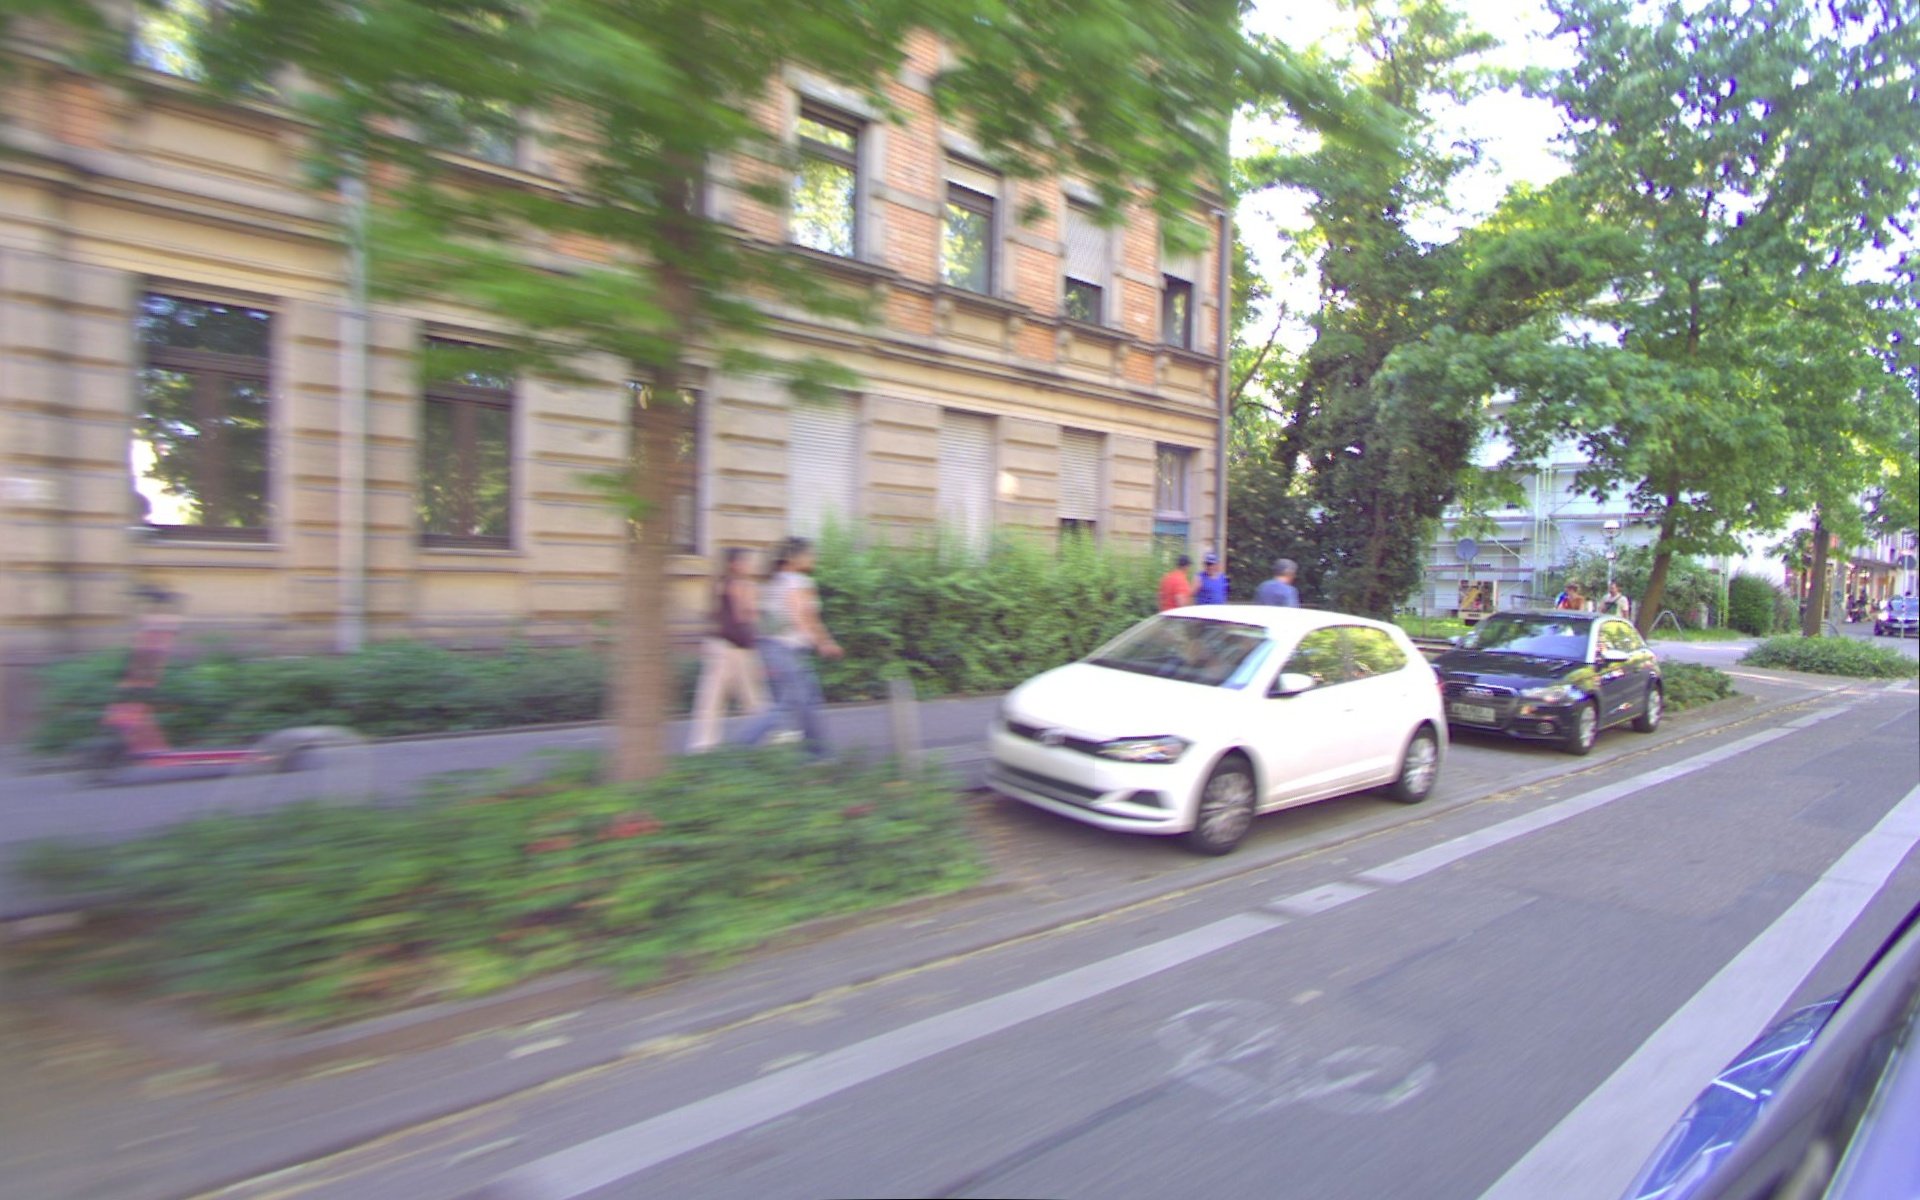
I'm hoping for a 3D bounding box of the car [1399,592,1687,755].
[{"bbox_3d":[6.711,0.689,11.499,3.777,1.429,1.676,-1,4,-42],"label":"car"}]

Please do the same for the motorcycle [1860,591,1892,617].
[{"bbox_3d":[50.923,0.230,56.271,2.605,1.332,0.954,2,5,-43],"label":"motorcycle"}]

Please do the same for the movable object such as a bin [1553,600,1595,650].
[{"bbox_3d":[14.319,0.569,23.594,0.665,1.140,0.942,1,1,42],"label":"movable object such as a bin"}]

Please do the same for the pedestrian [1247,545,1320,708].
[{"bbox_3d":[3.762,0.285,11.743,0.597,1.815,0.718,1,0,37],"label":"pedestrian"}]

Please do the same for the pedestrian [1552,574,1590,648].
[{"bbox_3d":[14.617,0.245,24.209,0.544,1.747,0.619,0,0,-37],"label":"pedestrian"}]

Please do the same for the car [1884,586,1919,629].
[{"bbox_3d":[39.445,0.330,41.371,4.361,1.641,1.767,1,3,-39],"label":"car"}]

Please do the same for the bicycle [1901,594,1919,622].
[{"bbox_3d":[45.023,0.419,46.681,1.011,1.224,2.210,0,3,-40],"label":"bicycle"}]

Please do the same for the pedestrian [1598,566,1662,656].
[{"bbox_3d":[14.040,0.221,21.219,0.836,1.815,0.729,1,2,-29],"label":"pedestrian"}]

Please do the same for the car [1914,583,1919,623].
[{"bbox_3d":[48.725,0.223,49.741,4.118,1.918,2.000,0,5,-39],"label":"car"}]

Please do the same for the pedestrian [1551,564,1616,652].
[{"bbox_3d":[13.348,0.165,21.680,0.948,1.815,0.729,1,2,-29],"label":"pedestrian"}]

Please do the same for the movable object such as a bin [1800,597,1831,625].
[{"bbox_3d":[36.644,0.466,43.337,0.685,1.124,0.882,0,3,-42],"label":"movable object such as a bin"}]

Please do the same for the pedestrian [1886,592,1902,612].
[{"bbox_3d":[57.463,0.099,62.262,0.677,1.220,0.640,1,0,39],"label":"pedestrian"}]

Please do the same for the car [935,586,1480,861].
[{"bbox_3d":[1.990,0.650,7.520,4.035,1.384,1.889,0,4,-41],"label":"car"}]

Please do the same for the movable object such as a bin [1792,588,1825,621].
[{"bbox_3d":[37.885,0.192,45.186,0.811,1.414,1.001,0,3,-42],"label":"movable object such as a bin"}]

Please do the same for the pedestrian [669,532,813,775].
[{"bbox_3d":[-1.681,0.374,7.761,0.841,1.731,0.728,0,0,-39],"label":"pedestrian"}]

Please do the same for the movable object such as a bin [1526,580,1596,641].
[{"bbox_3d":[12.507,0.215,21.053,1.278,1.217,0.642,1,3,-30],"label":"movable object such as a bin"}]

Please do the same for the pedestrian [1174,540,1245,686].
[{"bbox_3d":[3.230,0.155,13.106,0.716,1.815,0.599,0,0,-43],"label":"pedestrian"}]

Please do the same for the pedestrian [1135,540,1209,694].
[{"bbox_3d":[2.604,0.189,12.414,0.598,1.815,0.717,1,0,44],"label":"pedestrian"}]

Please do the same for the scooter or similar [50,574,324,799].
[{"bbox_3d":[-4.773,0.477,6.312,1.311,1.261,0.577,0,1,-39],"label":"scooter or similar"}]

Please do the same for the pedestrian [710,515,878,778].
[{"bbox_3d":[-1.177,0.295,7.192,0.940,1.714,0.727,0,0,-40],"label":"pedestrian"}]
